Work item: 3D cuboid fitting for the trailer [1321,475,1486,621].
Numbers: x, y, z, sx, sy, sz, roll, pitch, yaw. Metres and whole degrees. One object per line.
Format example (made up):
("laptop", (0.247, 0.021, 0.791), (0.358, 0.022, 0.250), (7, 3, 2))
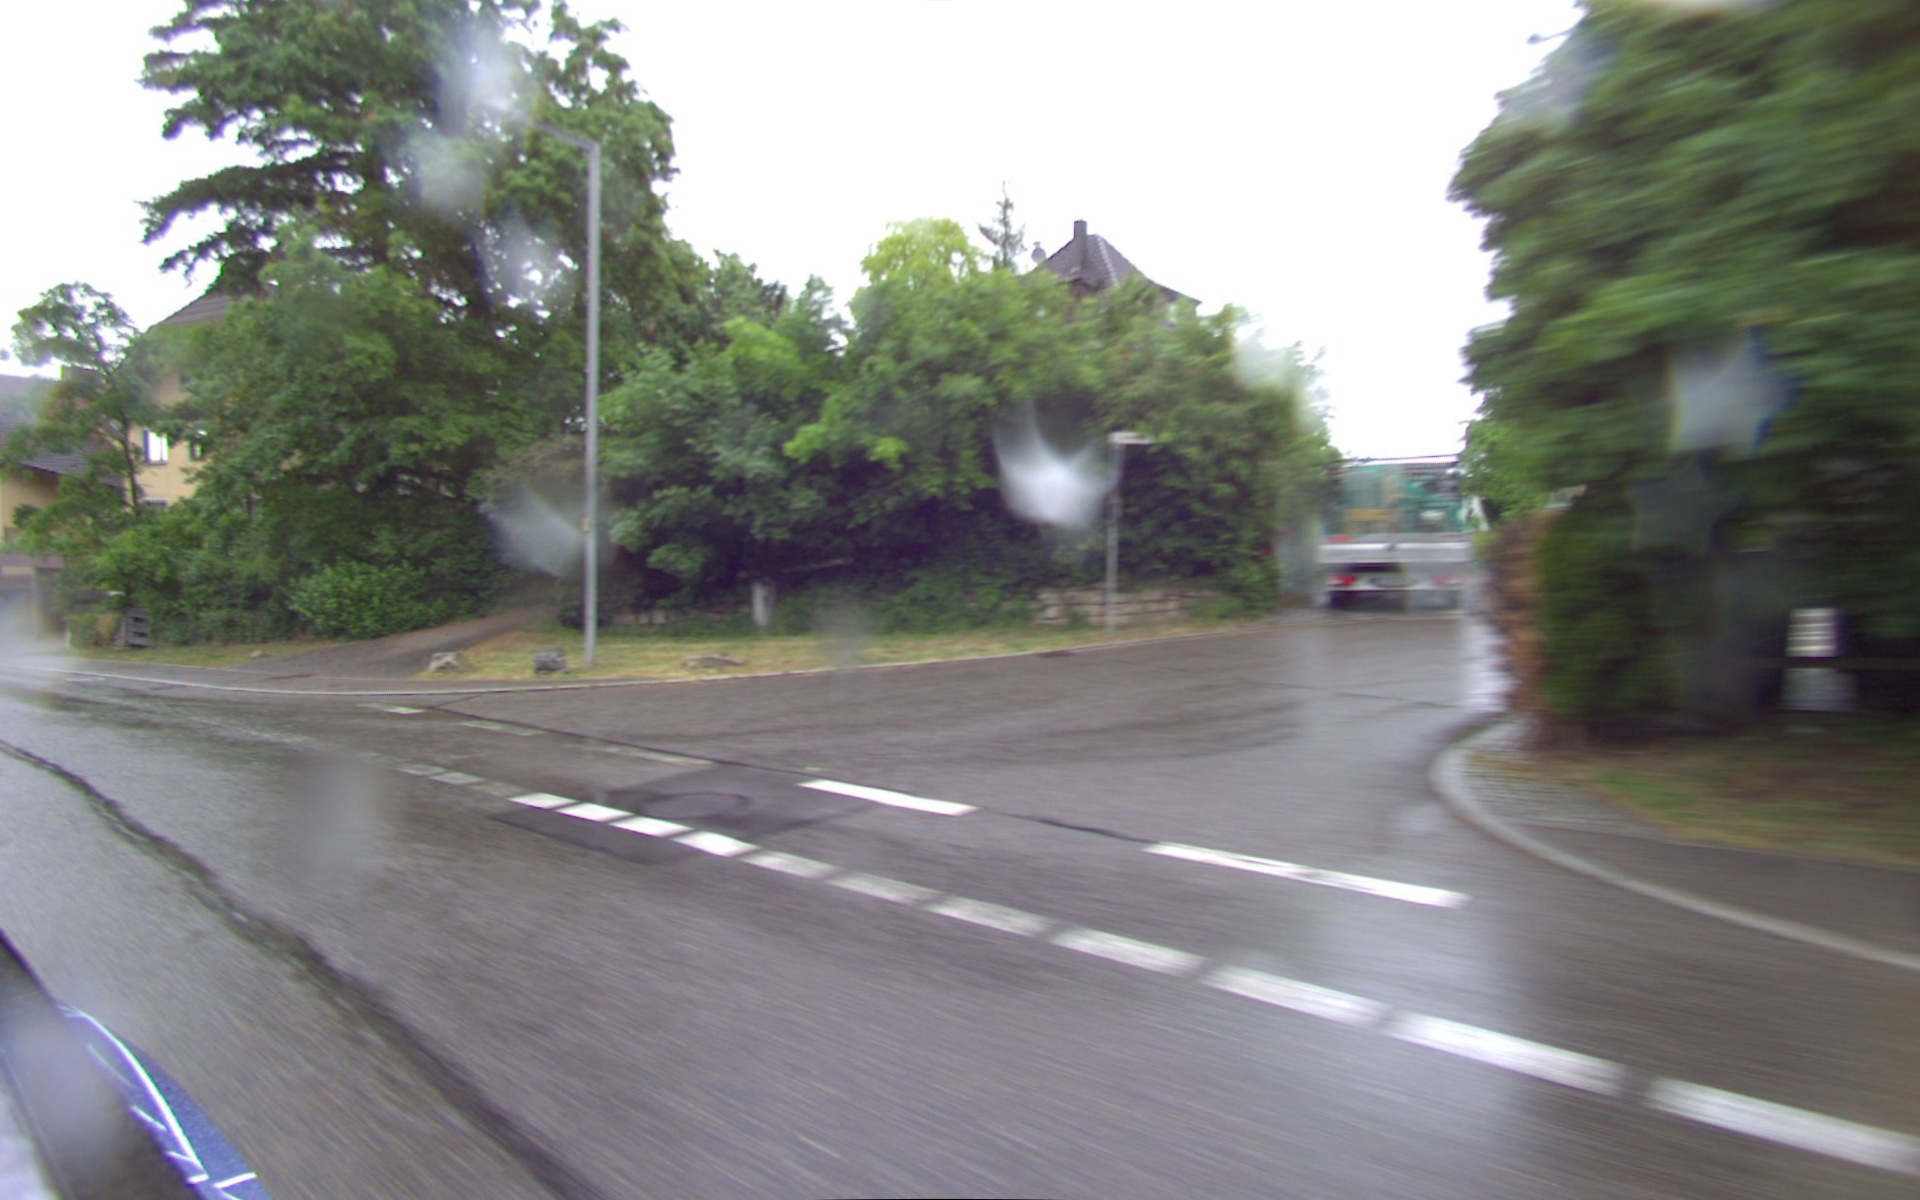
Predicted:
("trailer", (7.233, -0.930, 16.377), (2.150, 2.019, 3.967), (-1, 6, 26))
